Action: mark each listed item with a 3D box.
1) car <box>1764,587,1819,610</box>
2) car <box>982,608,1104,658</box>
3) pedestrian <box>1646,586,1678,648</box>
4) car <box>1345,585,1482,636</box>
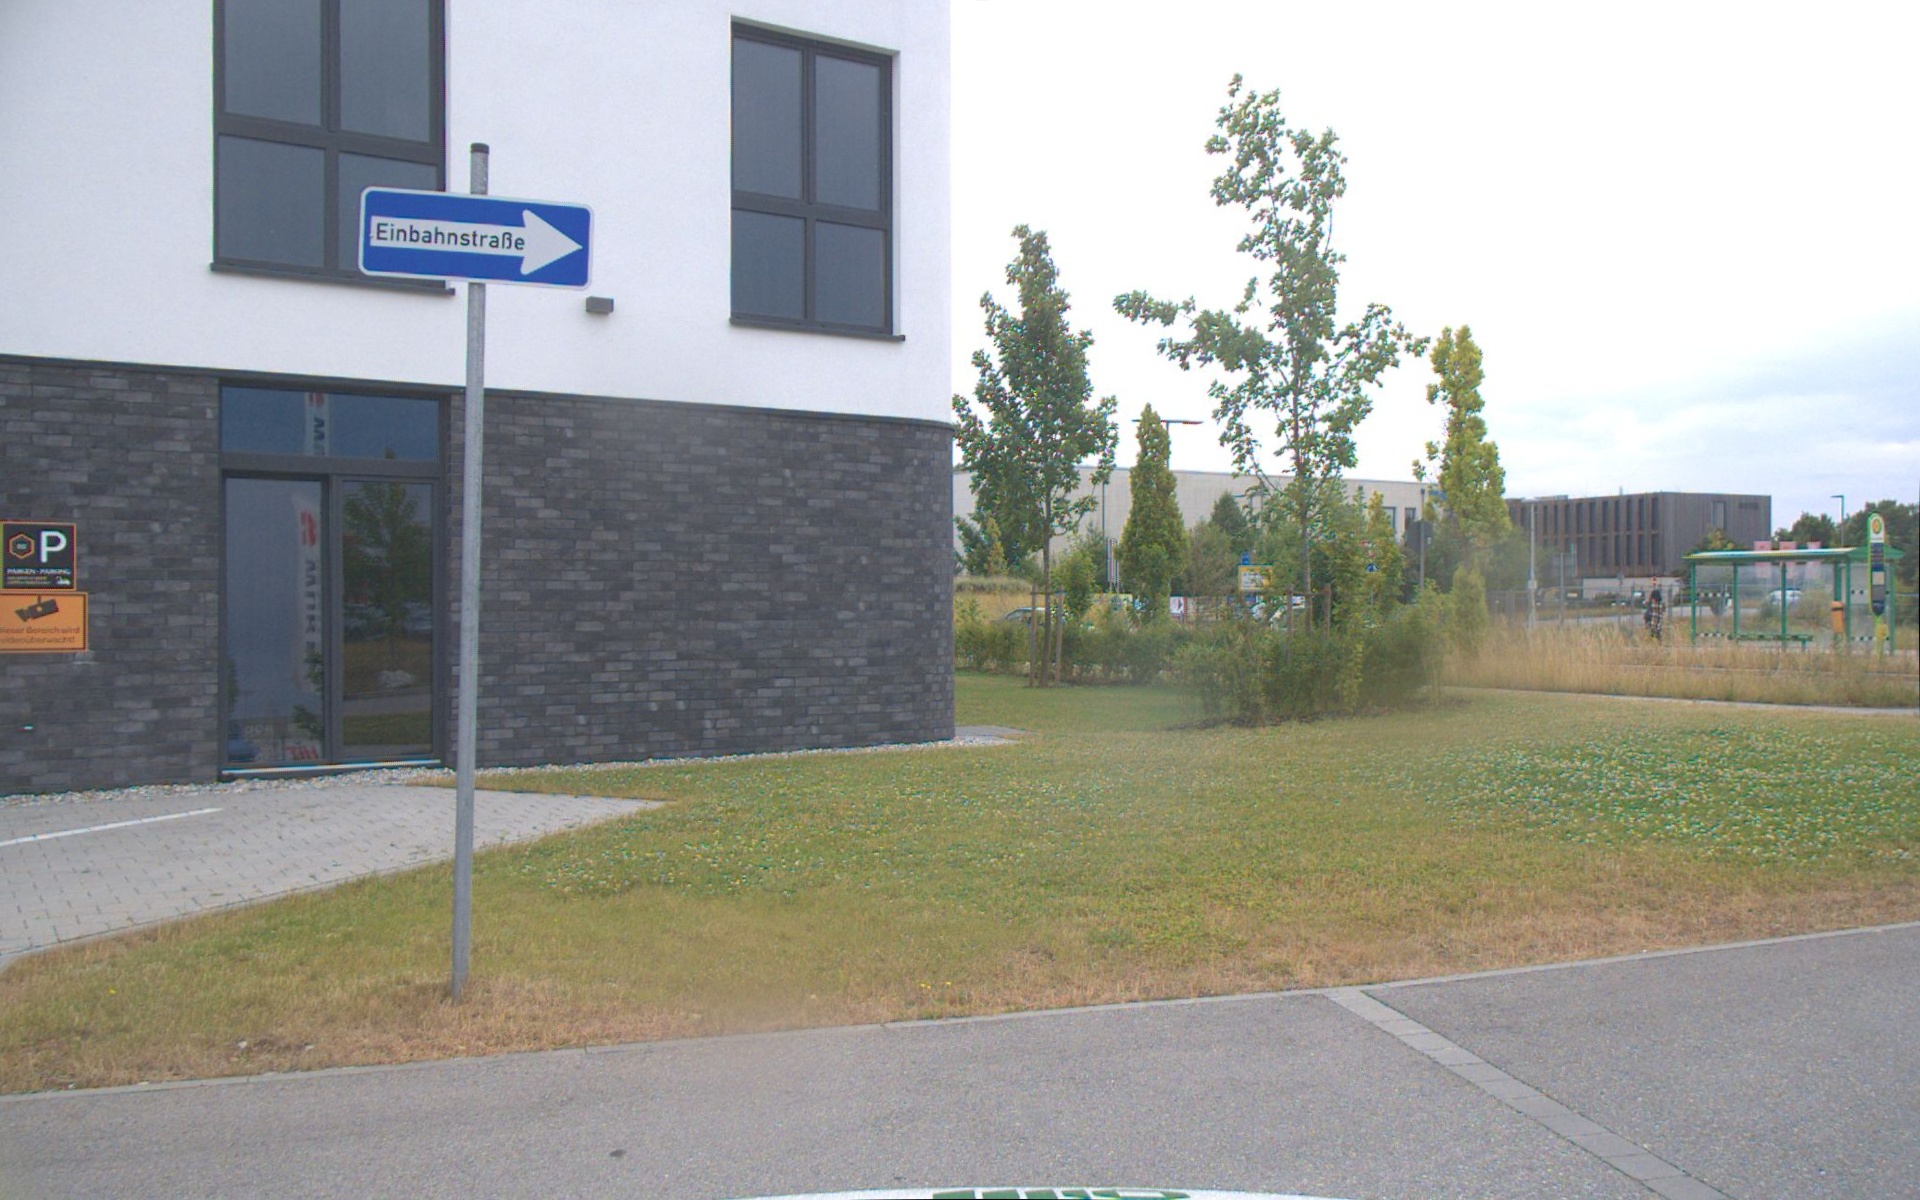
[{"bbox_3d":[57.316,-0.133,113.986,3.591,1.512,1.664,-1,1,-30],"label":"car"},{"bbox_3d":[2.448,0.950,49.914,1.734,1.411,4.259,0,0,-29],"label":"car"},{"bbox_3d":[20.270,0.489,47.738,0.725,1.752,0.651,1,0,12],"label":"pedestrian"},{"bbox_3d":[12.806,0.252,46.895,1.690,1.366,3.935,0,1,-23],"label":"car"}]
